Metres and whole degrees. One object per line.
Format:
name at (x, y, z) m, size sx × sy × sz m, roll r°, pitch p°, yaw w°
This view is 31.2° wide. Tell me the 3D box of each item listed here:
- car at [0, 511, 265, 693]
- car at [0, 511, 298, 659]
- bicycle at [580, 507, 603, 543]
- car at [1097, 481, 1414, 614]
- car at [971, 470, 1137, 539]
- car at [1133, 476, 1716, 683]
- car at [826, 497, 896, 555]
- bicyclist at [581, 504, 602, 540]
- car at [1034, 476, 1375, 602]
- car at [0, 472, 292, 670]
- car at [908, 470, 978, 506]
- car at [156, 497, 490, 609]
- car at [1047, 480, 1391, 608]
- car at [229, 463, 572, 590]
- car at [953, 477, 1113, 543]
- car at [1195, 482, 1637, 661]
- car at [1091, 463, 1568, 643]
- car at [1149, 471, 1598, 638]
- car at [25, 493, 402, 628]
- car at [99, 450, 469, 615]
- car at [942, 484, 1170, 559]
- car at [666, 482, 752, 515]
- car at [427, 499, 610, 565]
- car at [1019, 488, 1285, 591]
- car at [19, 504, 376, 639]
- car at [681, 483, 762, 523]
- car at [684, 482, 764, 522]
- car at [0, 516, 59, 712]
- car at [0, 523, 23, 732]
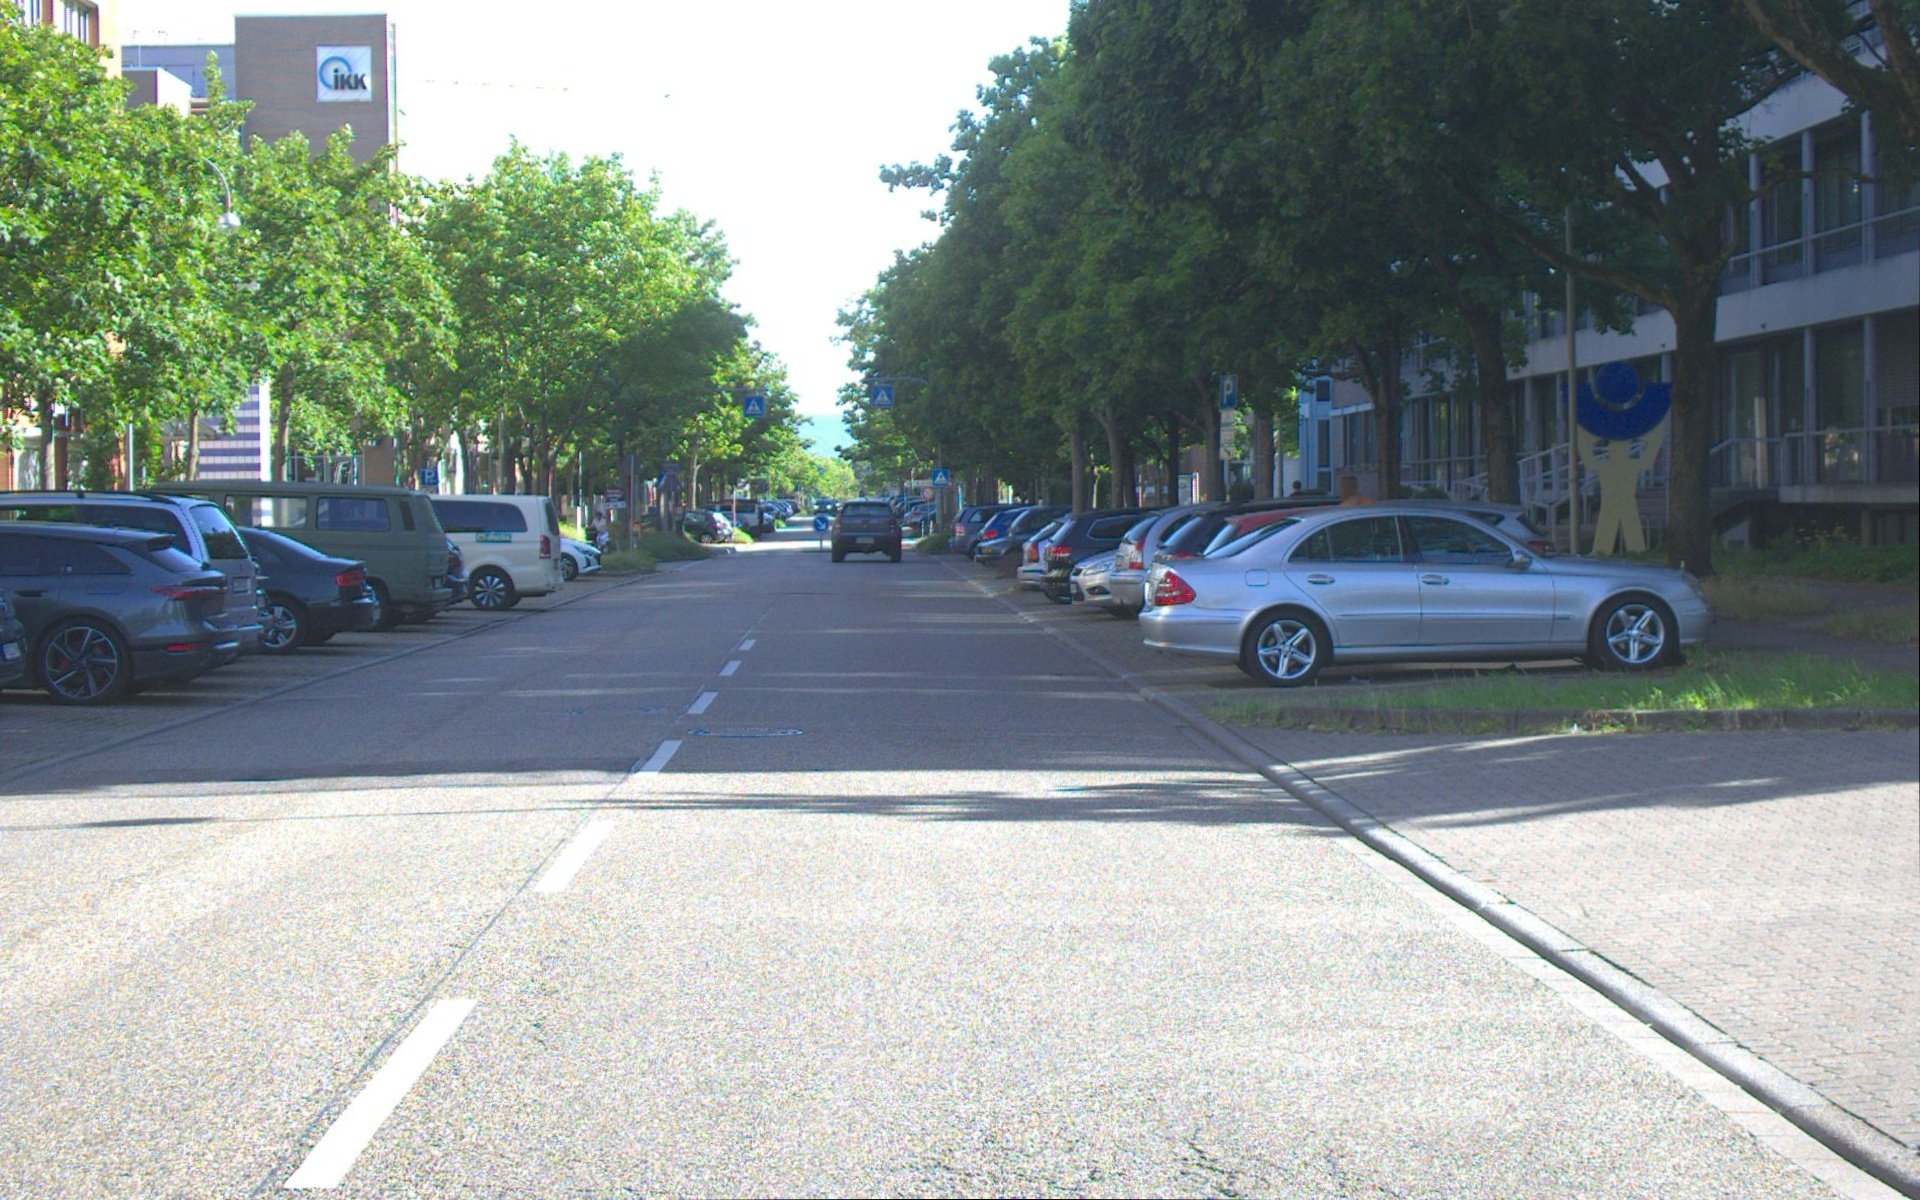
car at (-8.117, -0.016, 28.482) m, size 4.402 × 1.422 × 1.773 m, roll 1°, pitch 2°, yaw -3°
car at (-8.750, -0.169, 33.396) m, size 4.320 × 1.354 × 1.757 m, roll 1°, pitch 2°, yaw -2°
bicycle at (-11.408, -2.321, 106.450) m, size 0.532 × 1.068 × 1.300 m, roll -1°, pitch 2°, yaw 1°
car at (3.729, -0.680, 43.723) m, size 3.742 × 1.488 × 1.617 m, roll -3°, pitch 2°, yaw -5°
car at (2.286, -2.337, 84.369) m, size 3.949 × 1.509 × 1.813 m, roll -2°, pitch 2°, yaw 0°
car at (3.823, -0.194, 28.830) m, size 4.578 × 1.470 × 1.747 m, roll -3°, pitch 2°, yaw 0°
car at (-2.907, -2.190, 101.107) m, size 1.993 × 1.634 × 4.001 m, roll 1°, pitch 2°, yaw -2°
bicyclist at (-11.413, -2.408, 106.447) m, size 0.532 × 1.087 × 0.794 m, roll -1°, pitch 2°, yaw 1°
car at (3.418, -0.878, 48.681) m, size 4.591 × 1.488 × 1.763 m, roll -3°, pitch 2°, yaw -1°
car at (-8.400, -0.298, 31.130) m, size 4.320 × 1.711 × 1.963 m, roll 1°, pitch 2°, yaw -1°
car at (-1.019, -6.590, 202.752) m, size 3.986 × 2.006 × 2.000 m, roll -1°, pitch 2°, yaw -3°
car at (-8.925, -0.676, 48.435) m, size 4.320 × 1.472 × 1.943 m, roll 1°, pitch 2°, yaw 1°
car at (3.427, -0.768, 46.019) m, size 4.285 × 1.488 × 2.004 m, roll -3°, pitch 2°, yaw -5°
car at (-9.023, -1.201, 55.729) m, size 5.257 × 1.960 × 1.943 m, roll 1°, pitch 2°, yaw -1°
car at (2.074, -2.588, 98.641) m, size 4.350 × 1.698 × 1.813 m, roll -3°, pitch 2°, yaw -4°
car at (4.149, -0.282, 31.758) m, size 3.838 × 1.442 × 1.922 m, roll -2°, pitch 2°, yaw 3°
car at (3.589, -0.479, 34.052) m, size 4.515 × 1.537 × 1.922 m, roll -2°, pitch 2°, yaw 3°
car at (4.347, -0.501, 36.691) m, size 4.515 × 1.537 × 1.922 m, roll -2°, pitch 2°, yaw 1°
car at (-8.864, -0.484, 41.038) m, size 4.132 × 1.522 × 1.725 m, roll 1°, pitch 2°, yaw -1°
car at (-8.942, -0.915, 45.742) m, size 4.488 × 2.082 × 2.083 m, roll 1°, pitch 2°, yaw 1°
car at (2.098, -1.740, 75.973) m, size 4.824 × 1.415 × 2.032 m, roll -3°, pitch 2°, yaw -3°
car at (-11.585, -4.691, 158.788) m, size 3.847 × 1.468 × 1.813 m, roll 1°, pitch 1°, yaw -7°
car at (-10.014, -1.551, 78.180) m, size 3.986 × 1.481 × 1.807 m, roll 0°, pitch 2°, yaw -2°
car at (2.991, -0.966, 54.100) m, size 3.969 × 1.415 × 1.711 m, roll -3°, pitch 2°, yaw -3°
car at (-8.428, -0.329, 38.271) m, size 3.725 × 1.422 × 1.725 m, roll 1°, pitch 2°, yaw -7°
car at (-12.512, -5.095, 180.360) m, size 3.987 × 2.006 × 2.000 m, roll -1°, pitch 2°, yaw 3°
car at (-12.580, -5.230, 183.225) m, size 3.987 × 2.006 × 2.000 m, roll -1°, pitch 2°, yaw 3°
car at (-8.920, 0.062, 26.077) m, size 3.726 × 1.422 × 1.773 m, roll 1°, pitch 2°, yaw -2°
car at (-8.436, 0.179, 23.258) m, size 3.726 × 1.422 × 1.841 m, roll 1°, pitch 2°, yaw -2°
